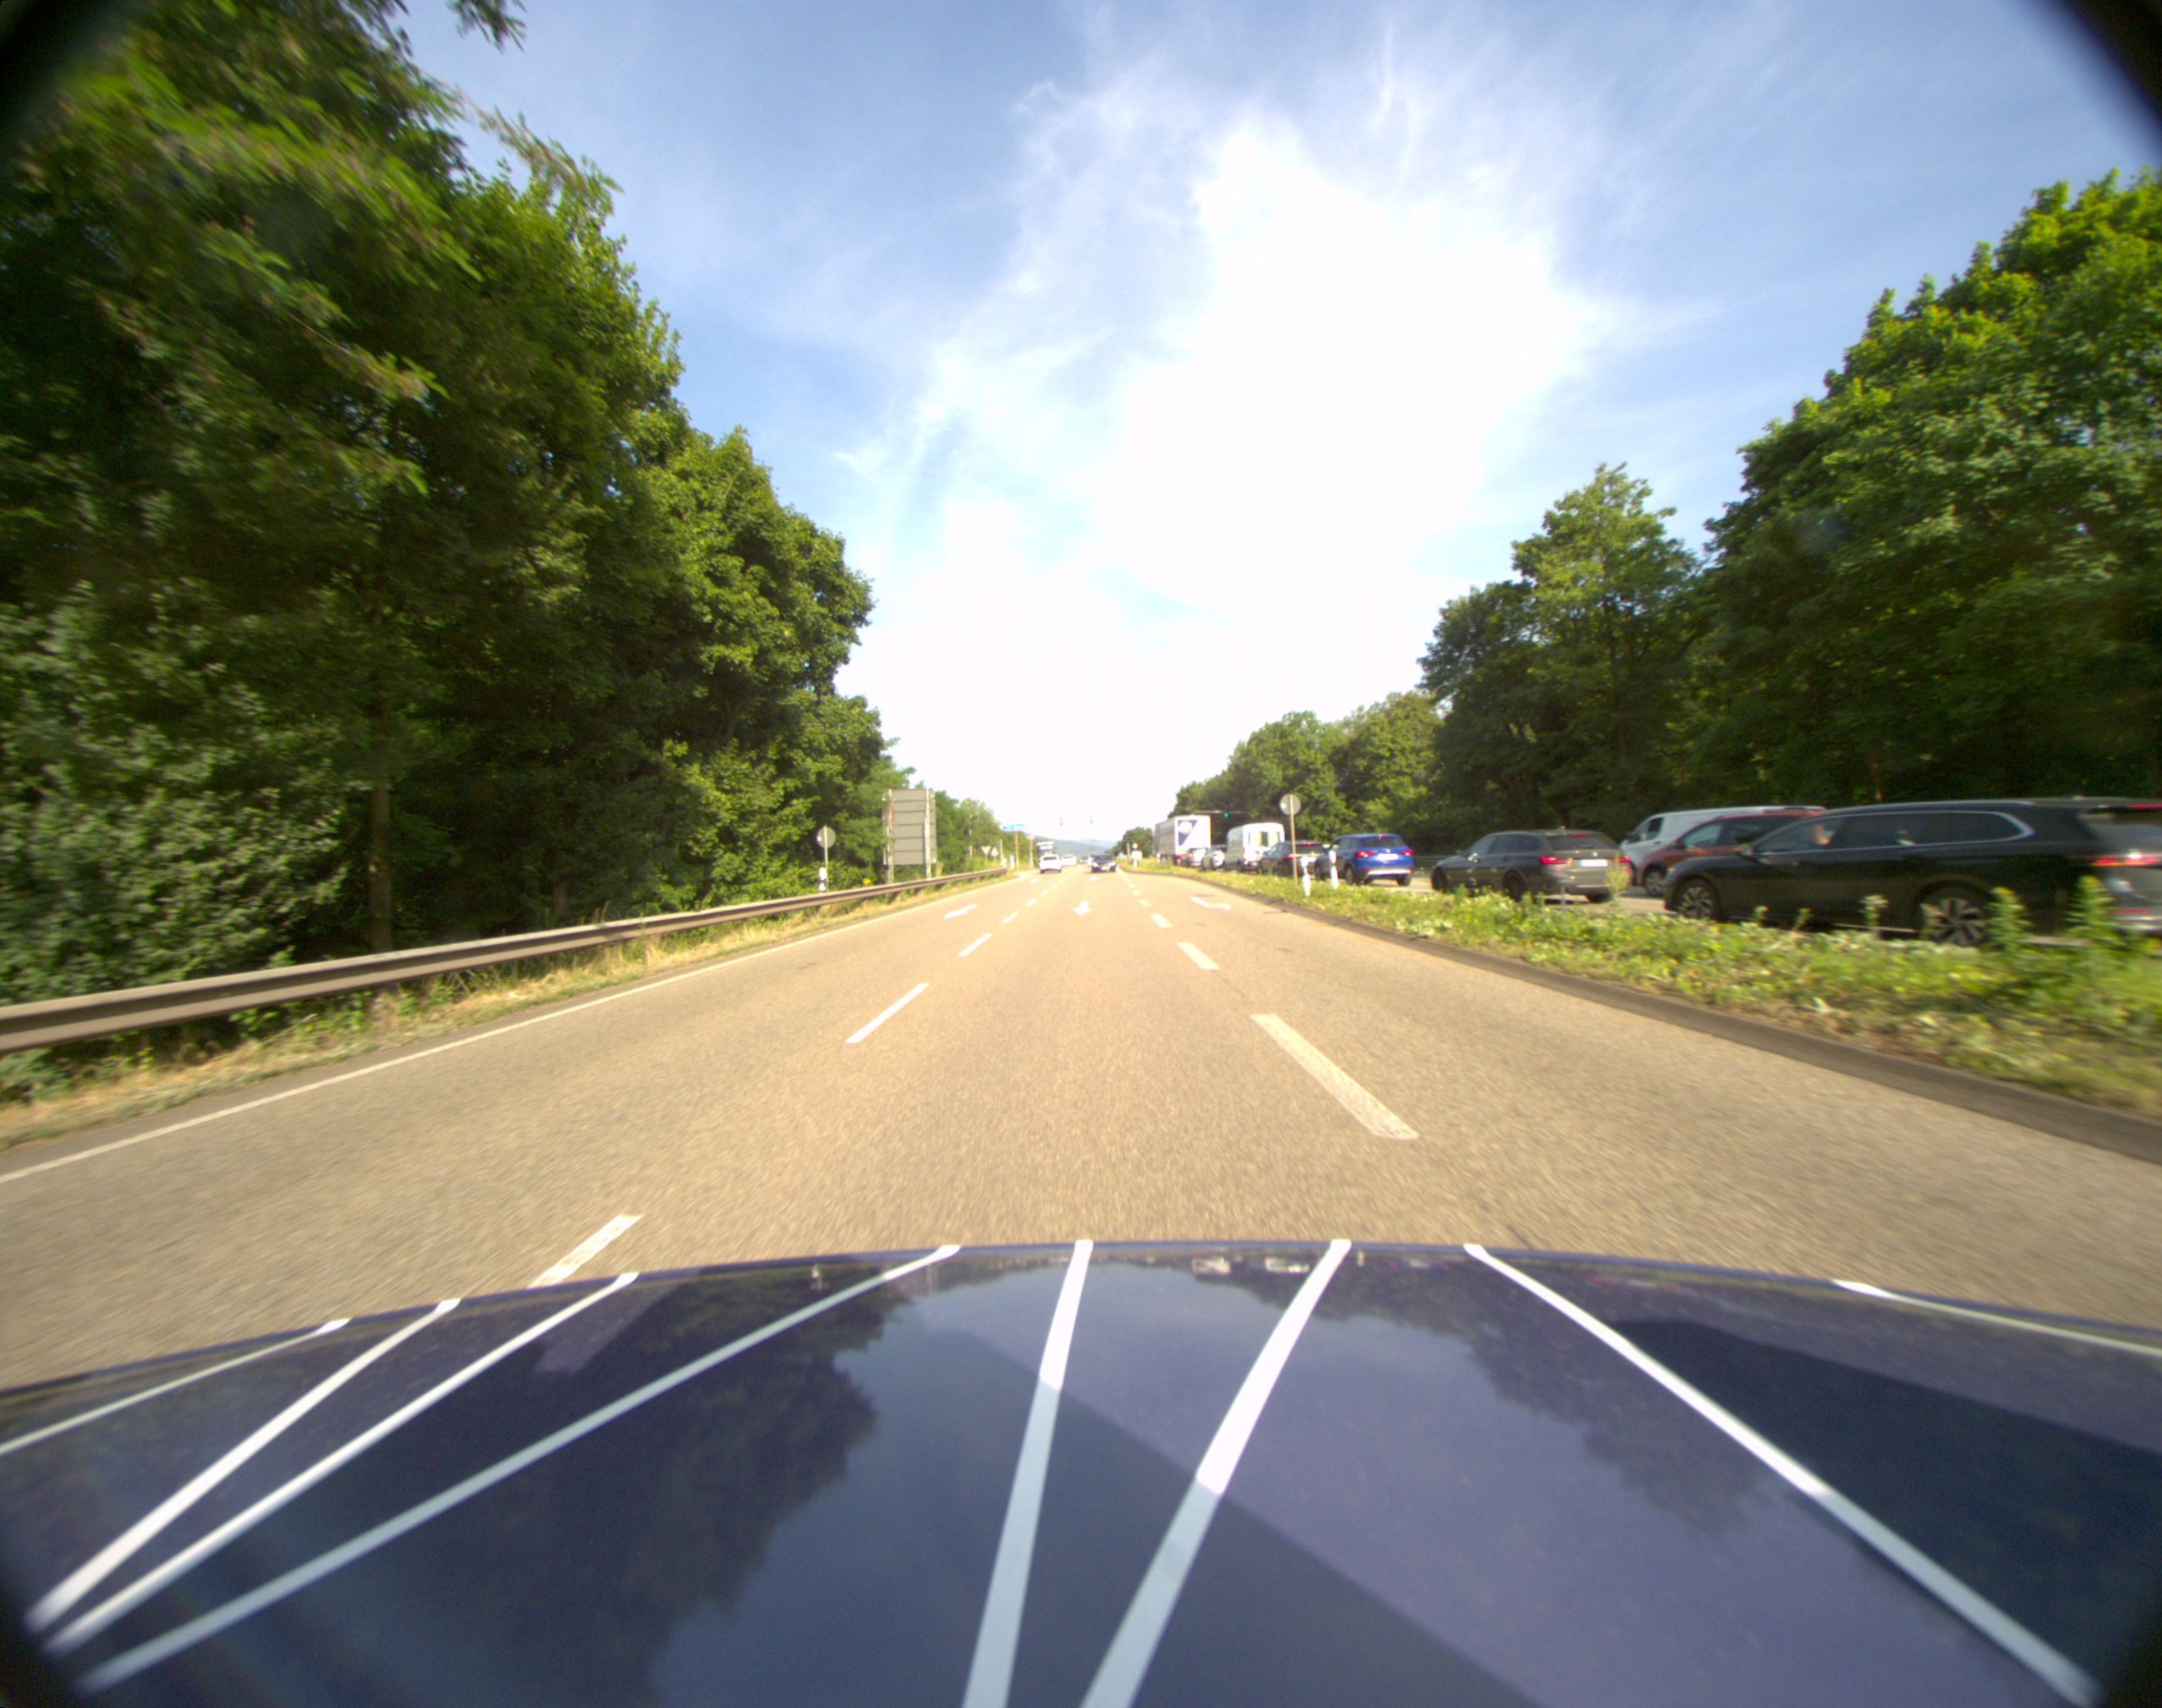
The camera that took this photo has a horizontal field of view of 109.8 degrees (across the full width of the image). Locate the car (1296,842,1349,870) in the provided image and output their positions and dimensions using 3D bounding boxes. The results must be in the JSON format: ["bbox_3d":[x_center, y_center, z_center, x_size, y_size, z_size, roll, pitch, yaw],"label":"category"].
[{"bbox_3d":[12.277,0.098,38.848,1.549,1.376,3.618,1,0,0],"label":"car"}]

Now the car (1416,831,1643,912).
[{"bbox_3d":[8.871,0.306,15.650,1.776,1.371,4.843,-2,0,0],"label":"car"}]

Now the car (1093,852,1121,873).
[{"bbox_3d":[2.032,0.629,59.959,1.861,1.452,4.569,-4,0,-1],"label":"car"}]

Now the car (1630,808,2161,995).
[{"bbox_3d":[8.838,0.344,8.369,1.776,1.415,5.192,-2,0,0],"label":"car"}]

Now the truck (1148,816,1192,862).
[{"bbox_3d":[8.326,-1.371,71.664,2.898,3.974,6.720,-4,0,-2],"label":"truck"}]

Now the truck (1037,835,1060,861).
[{"bbox_3d":[-5.267,-0.937,126.736,3.197,3.995,14.562,-4,0,-1],"label":"truck"}]

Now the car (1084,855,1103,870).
[{"bbox_3d":[1.479,0.946,90.256,1.999,1.632,3.999,-4,0,-1],"label":"car"}]

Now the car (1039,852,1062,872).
[{"bbox_3d":[-2.655,0.678,66.674,1.875,1.625,4.833,-2,0,-2],"label":"car"}]

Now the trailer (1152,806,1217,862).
[{"bbox_3d":[8.501,-1.502,64.443,2.999,3.972,14.011,-4,0,-1],"label":"trailer"}]

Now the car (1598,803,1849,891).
[{"bbox_3d":[15.861,-0.152,19.258,2.017,1.924,5.101,1,0,0],"label":"car"}]

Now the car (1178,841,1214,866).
[{"bbox_3d":[8.107,-0.024,53.965,1.704,1.622,4.370,-2,0,-2],"label":"car"}]

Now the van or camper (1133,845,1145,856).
[{"bbox_3d":[14.621,-0.946,191.962,2.419,2.695,6.436,0,0,0],"label":"van or camper"}]

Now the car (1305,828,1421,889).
[{"bbox_3d":[8.606,0.136,23.663,1.776,1.659,4.800,-2,0,0],"label":"car"}]

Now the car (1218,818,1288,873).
[{"bbox_3d":[8.597,-0.401,38.663,2.080,2.519,6.163,-2,0,0],"label":"car"}]

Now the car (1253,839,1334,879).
[{"bbox_3d":[8.383,0.188,30.461,1.764,1.448,5.185,-2,0,0],"label":"car"}]

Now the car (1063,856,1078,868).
[{"bbox_3d":[-1.580,1.134,113.488,1.999,1.632,3.999,-4,0,-3],"label":"car"}]

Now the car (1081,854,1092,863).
[{"bbox_3d":[1.163,0.918,155.531,1.999,1.632,3.999,-4,0,-3],"label":"car"}]

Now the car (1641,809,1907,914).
[{"bbox_3d":[12.574,0.123,14.126,1.629,1.696,3.574,0,0,-1],"label":"car"}]

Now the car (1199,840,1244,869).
[{"bbox_3d":[8.533,0.039,46.426,1.704,1.622,4.746,-2,0,-2],"label":"car"}]
